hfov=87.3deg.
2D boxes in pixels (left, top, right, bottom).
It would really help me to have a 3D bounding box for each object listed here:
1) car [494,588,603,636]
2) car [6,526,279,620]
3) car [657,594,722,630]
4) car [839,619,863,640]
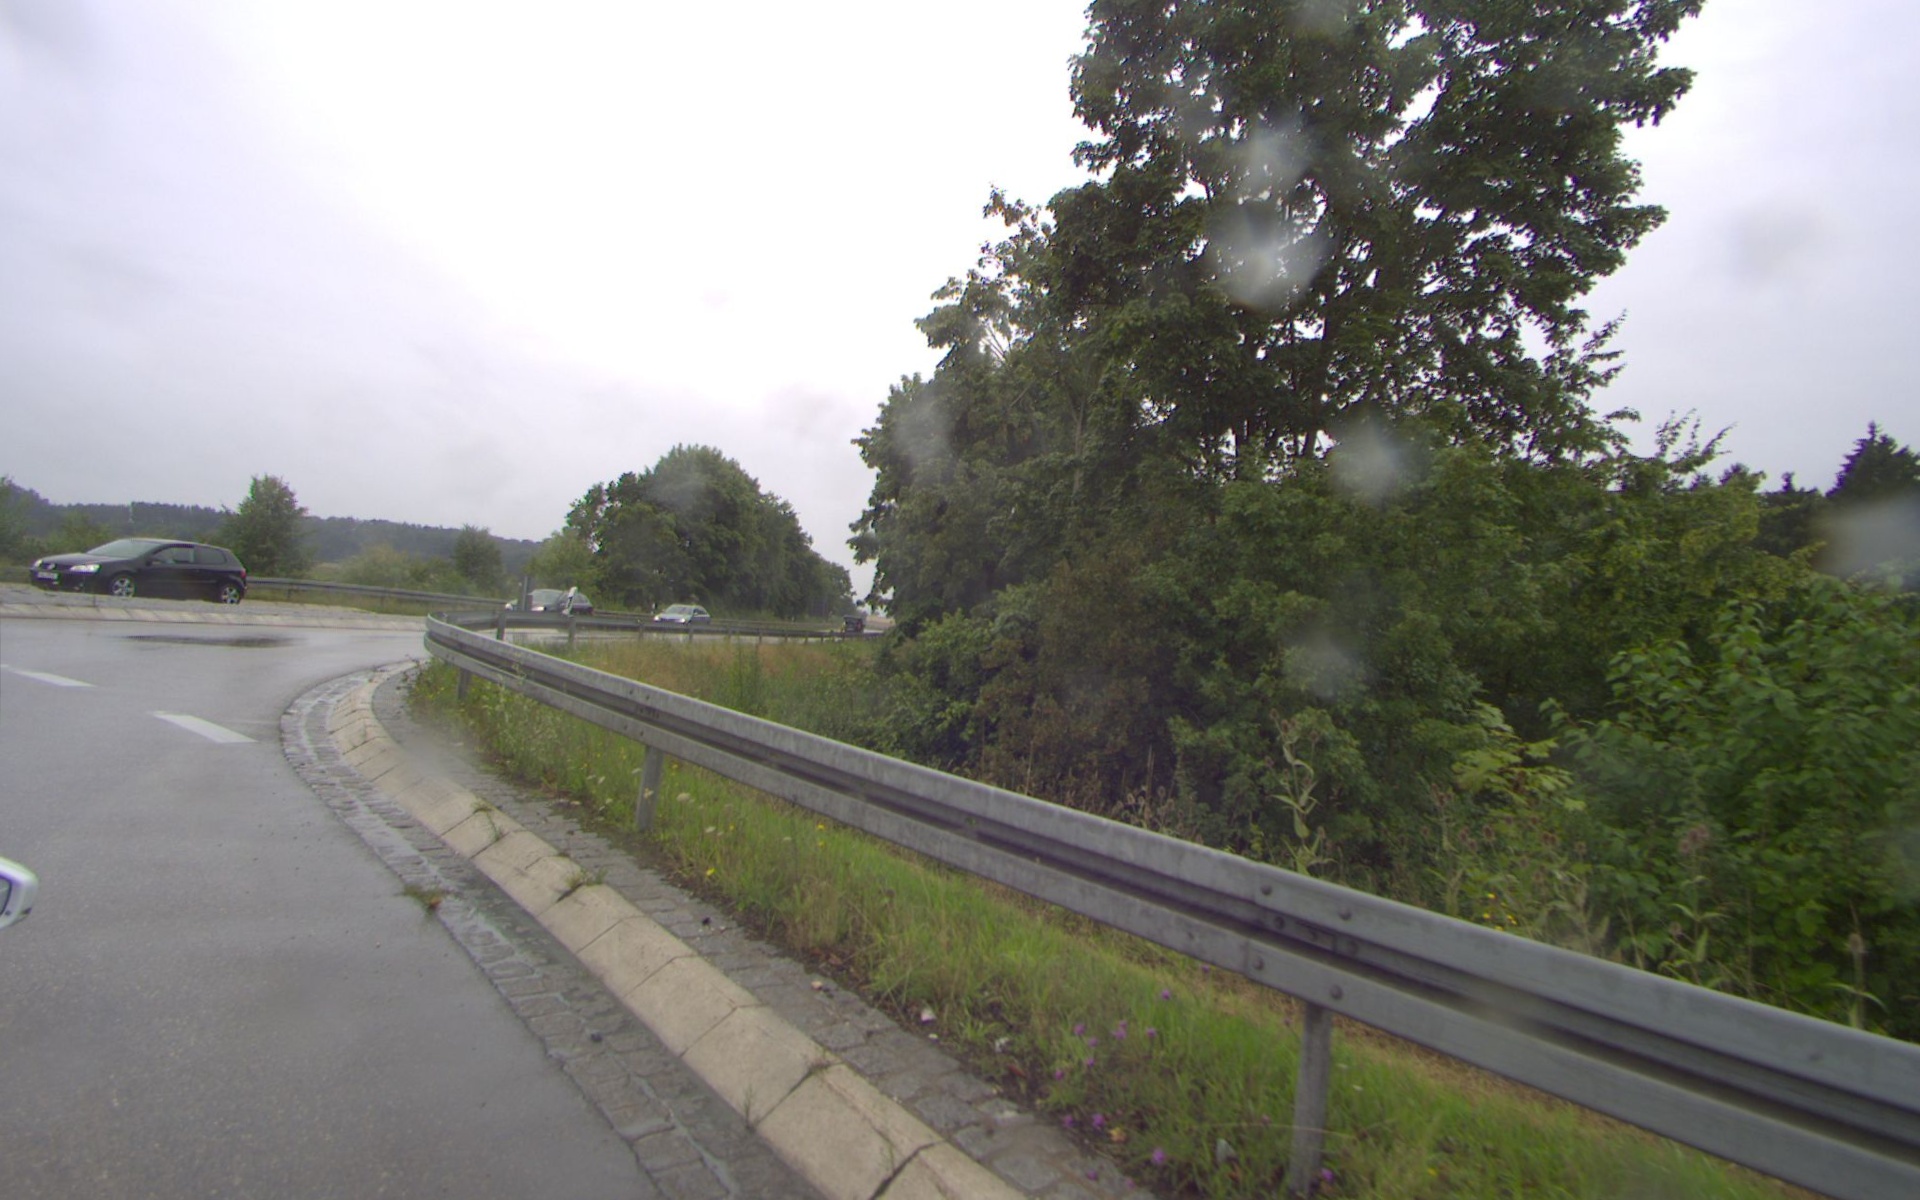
[{"bbox_3d":[-15.731,0.518,38.738,1.913,1.386,4.511,7,-3,5],"label":"car"},{"bbox_3d":[-18.093,-0.519,22.609,1.838,1.436,4.512,7,-3,11],"label":"car"},{"bbox_3d":[-14.122,0.669,52.810,1.731,1.436,4.511,7,-3,4],"label":"car"},{"bbox_3d":[-9.900,2.673,91.507,1.965,1.594,3.996,7,0,-5],"label":"car"}]
